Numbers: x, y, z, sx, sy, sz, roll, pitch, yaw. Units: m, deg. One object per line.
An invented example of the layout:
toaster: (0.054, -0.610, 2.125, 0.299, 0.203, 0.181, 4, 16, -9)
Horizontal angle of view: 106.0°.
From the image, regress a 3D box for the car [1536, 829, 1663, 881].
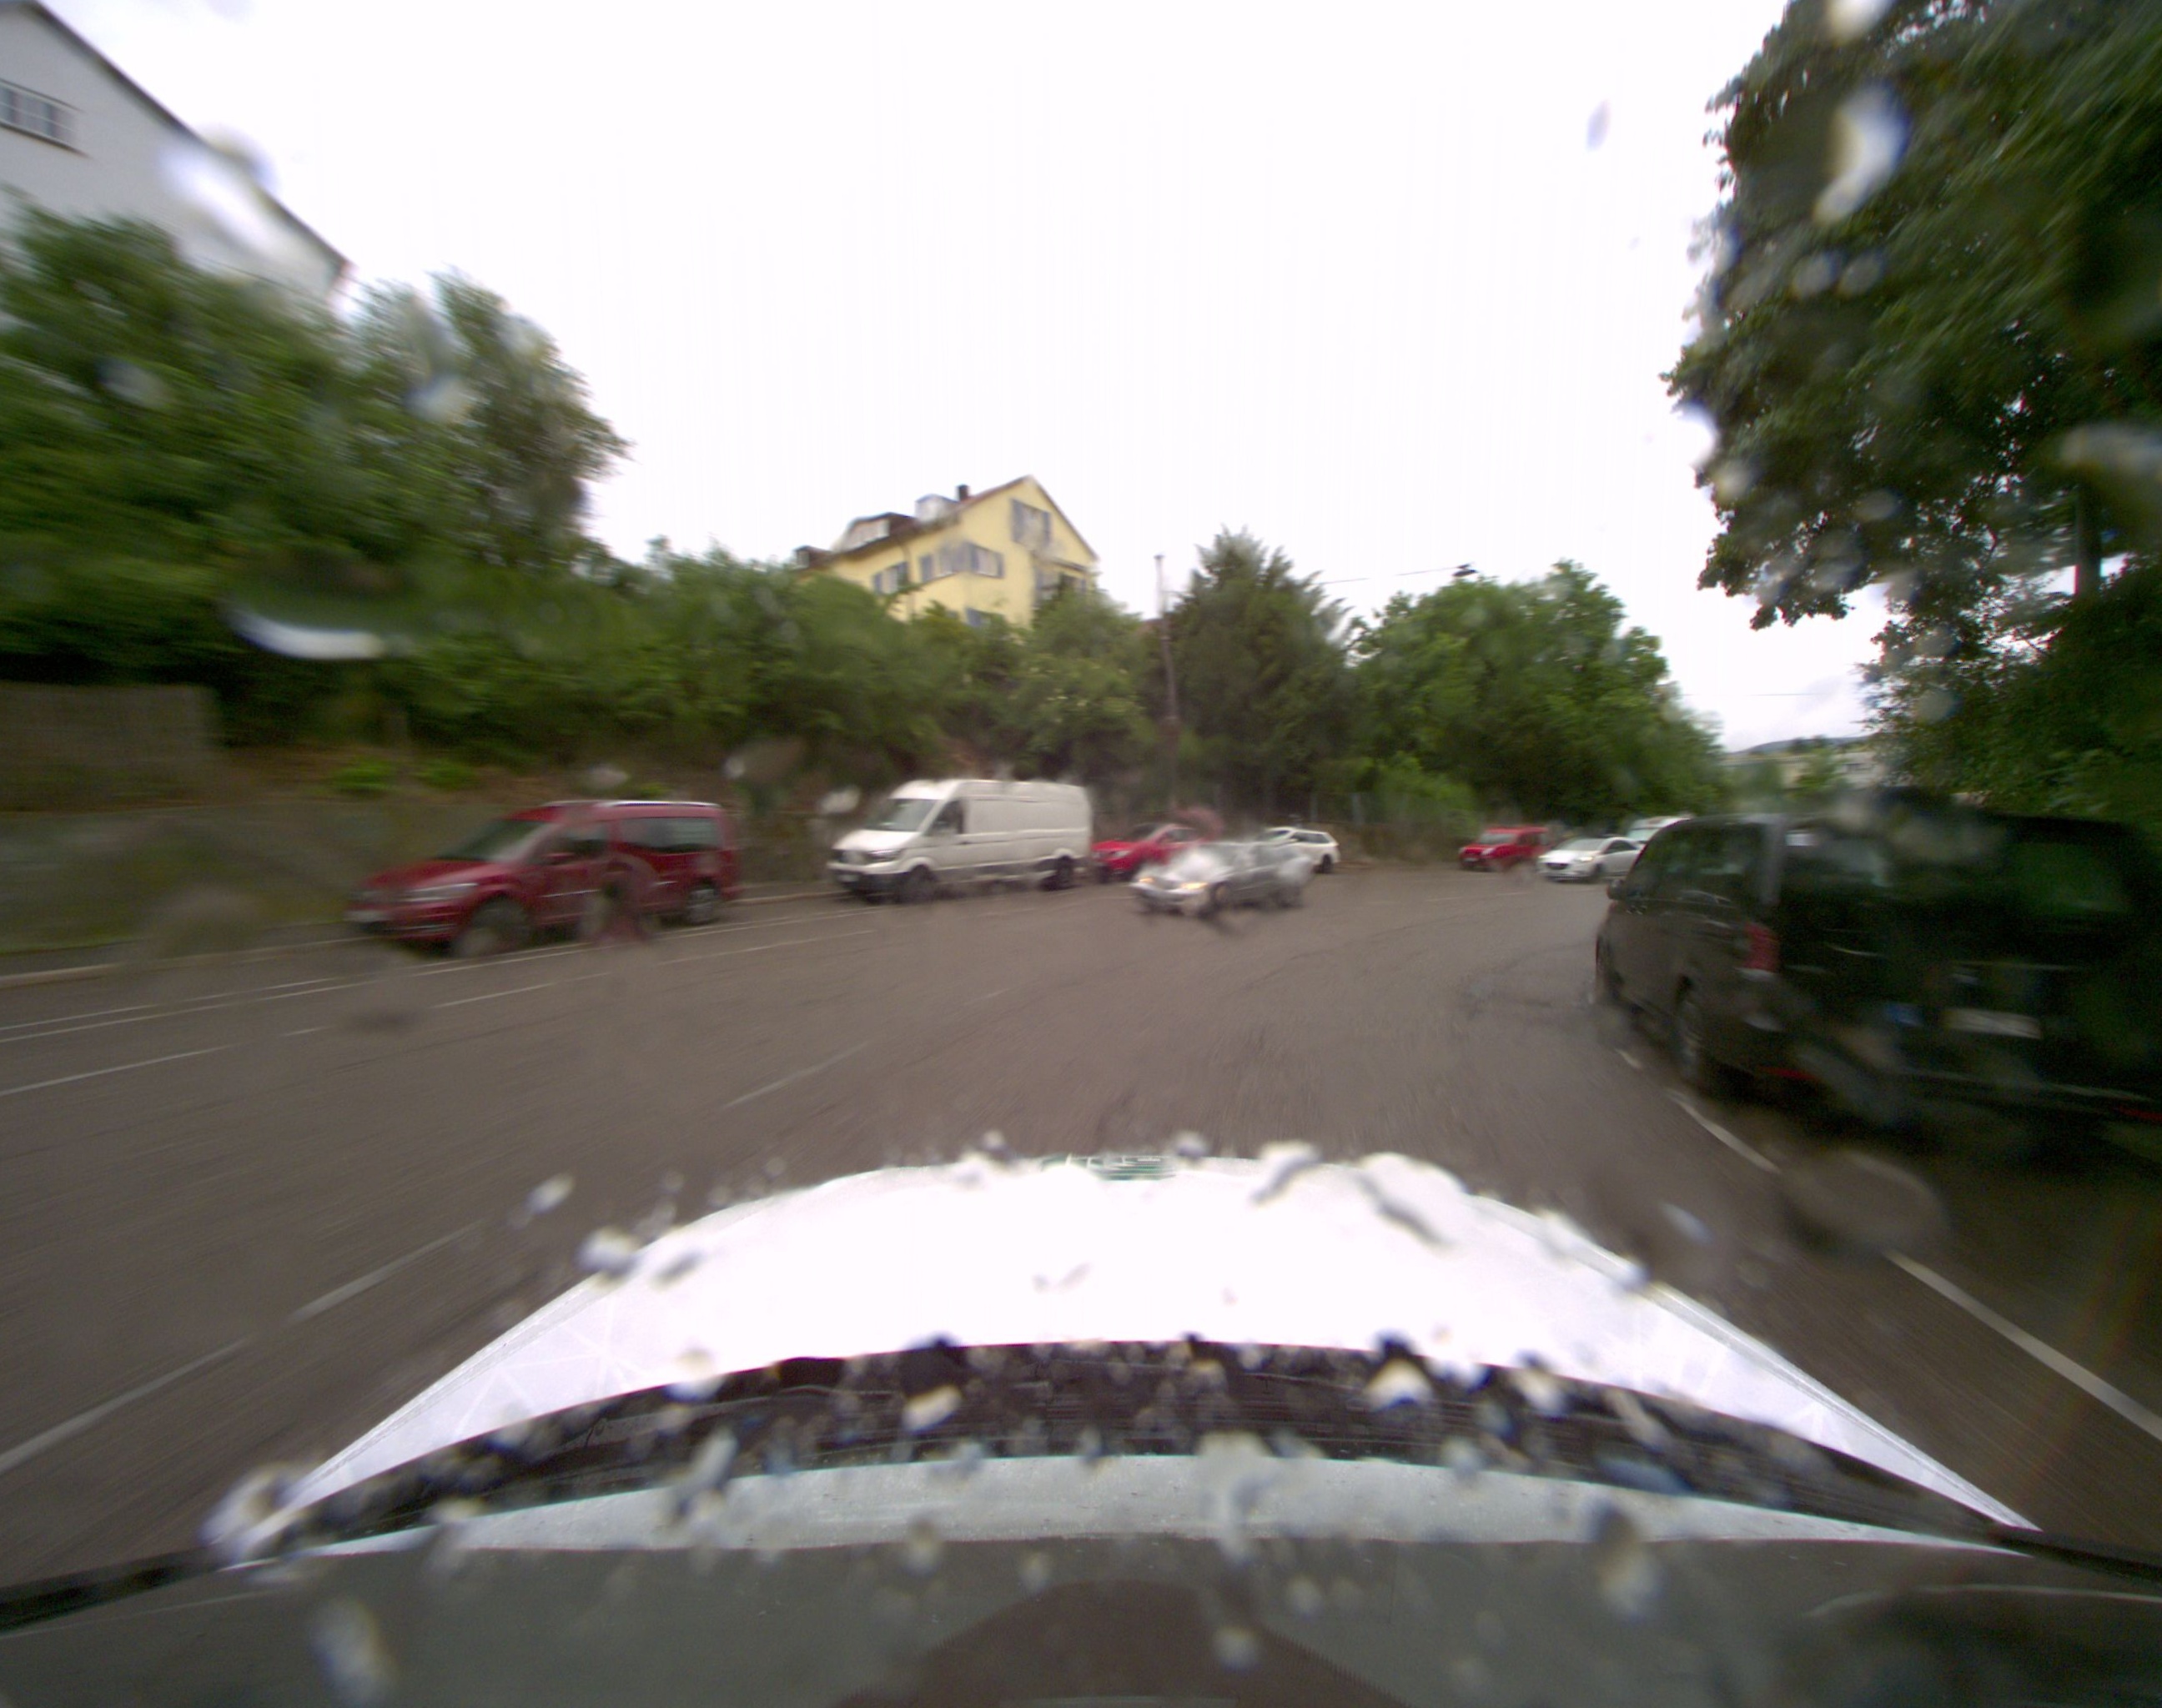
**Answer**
car: (16.767, -0.010, 26.314, 4.041, 1.495, 1.594, -2, 3, -26)

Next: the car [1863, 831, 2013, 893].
car: (22.589, 0.147, 21.456, 3.829, 1.389, 1.582, -2, 4, -25)

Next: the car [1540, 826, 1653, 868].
car: (21.732, -0.345, 34.336, 4.404, 1.619, 1.984, -2, 2, -25)

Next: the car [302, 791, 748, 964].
car: (-7.253, 0.151, 11.400, 1.976, 1.875, 4.848, 1, 2, 22)

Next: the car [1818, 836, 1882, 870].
car: (37.721, -0.074, 39.903, 4.508, 1.516, 1.851, -2, 0, -41)

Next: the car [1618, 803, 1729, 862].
car: (27.526, -1.016, 37.722, 6.372, 2.549, 2.058, -2, 0, -34)

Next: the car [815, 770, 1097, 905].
car: (-2.467, -0.451, 18.519, 2.015, 2.530, 6.867, 2, 3, 37)

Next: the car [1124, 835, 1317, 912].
car: (2.987, 0.303, 16.761, 1.768, 1.385, 4.364, 2, 2, 44)

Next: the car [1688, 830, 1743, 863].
car: (32.538, -0.372, 41.721, 1.786, 1.583, 4.049, -3, -2, 43)

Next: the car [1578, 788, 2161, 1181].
car: (5.566, 0.547, 6.516, 1.976, 1.886, 5.065, 2, 2, 23)

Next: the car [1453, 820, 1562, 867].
car: (16.742, -0.411, 31.935, 4.146, 1.767, 1.740, 0, 1, -27)

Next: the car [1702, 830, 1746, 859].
car: (36.578, -0.556, 46.274, 1.735, 1.456, 4.073, -4, -1, 41)

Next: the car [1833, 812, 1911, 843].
car: (55.239, -1.787, 57.008, 1.863, 2.013, 4.710, -2, 0, 15)

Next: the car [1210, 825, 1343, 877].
car: (6.370, -0.167, 26.380, 4.214, 1.478, 1.726, -2, 4, -33)

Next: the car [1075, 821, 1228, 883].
car: (2.076, -0.131, 23.125, 4.457, 1.585, 1.760, -2, 3, -41)
